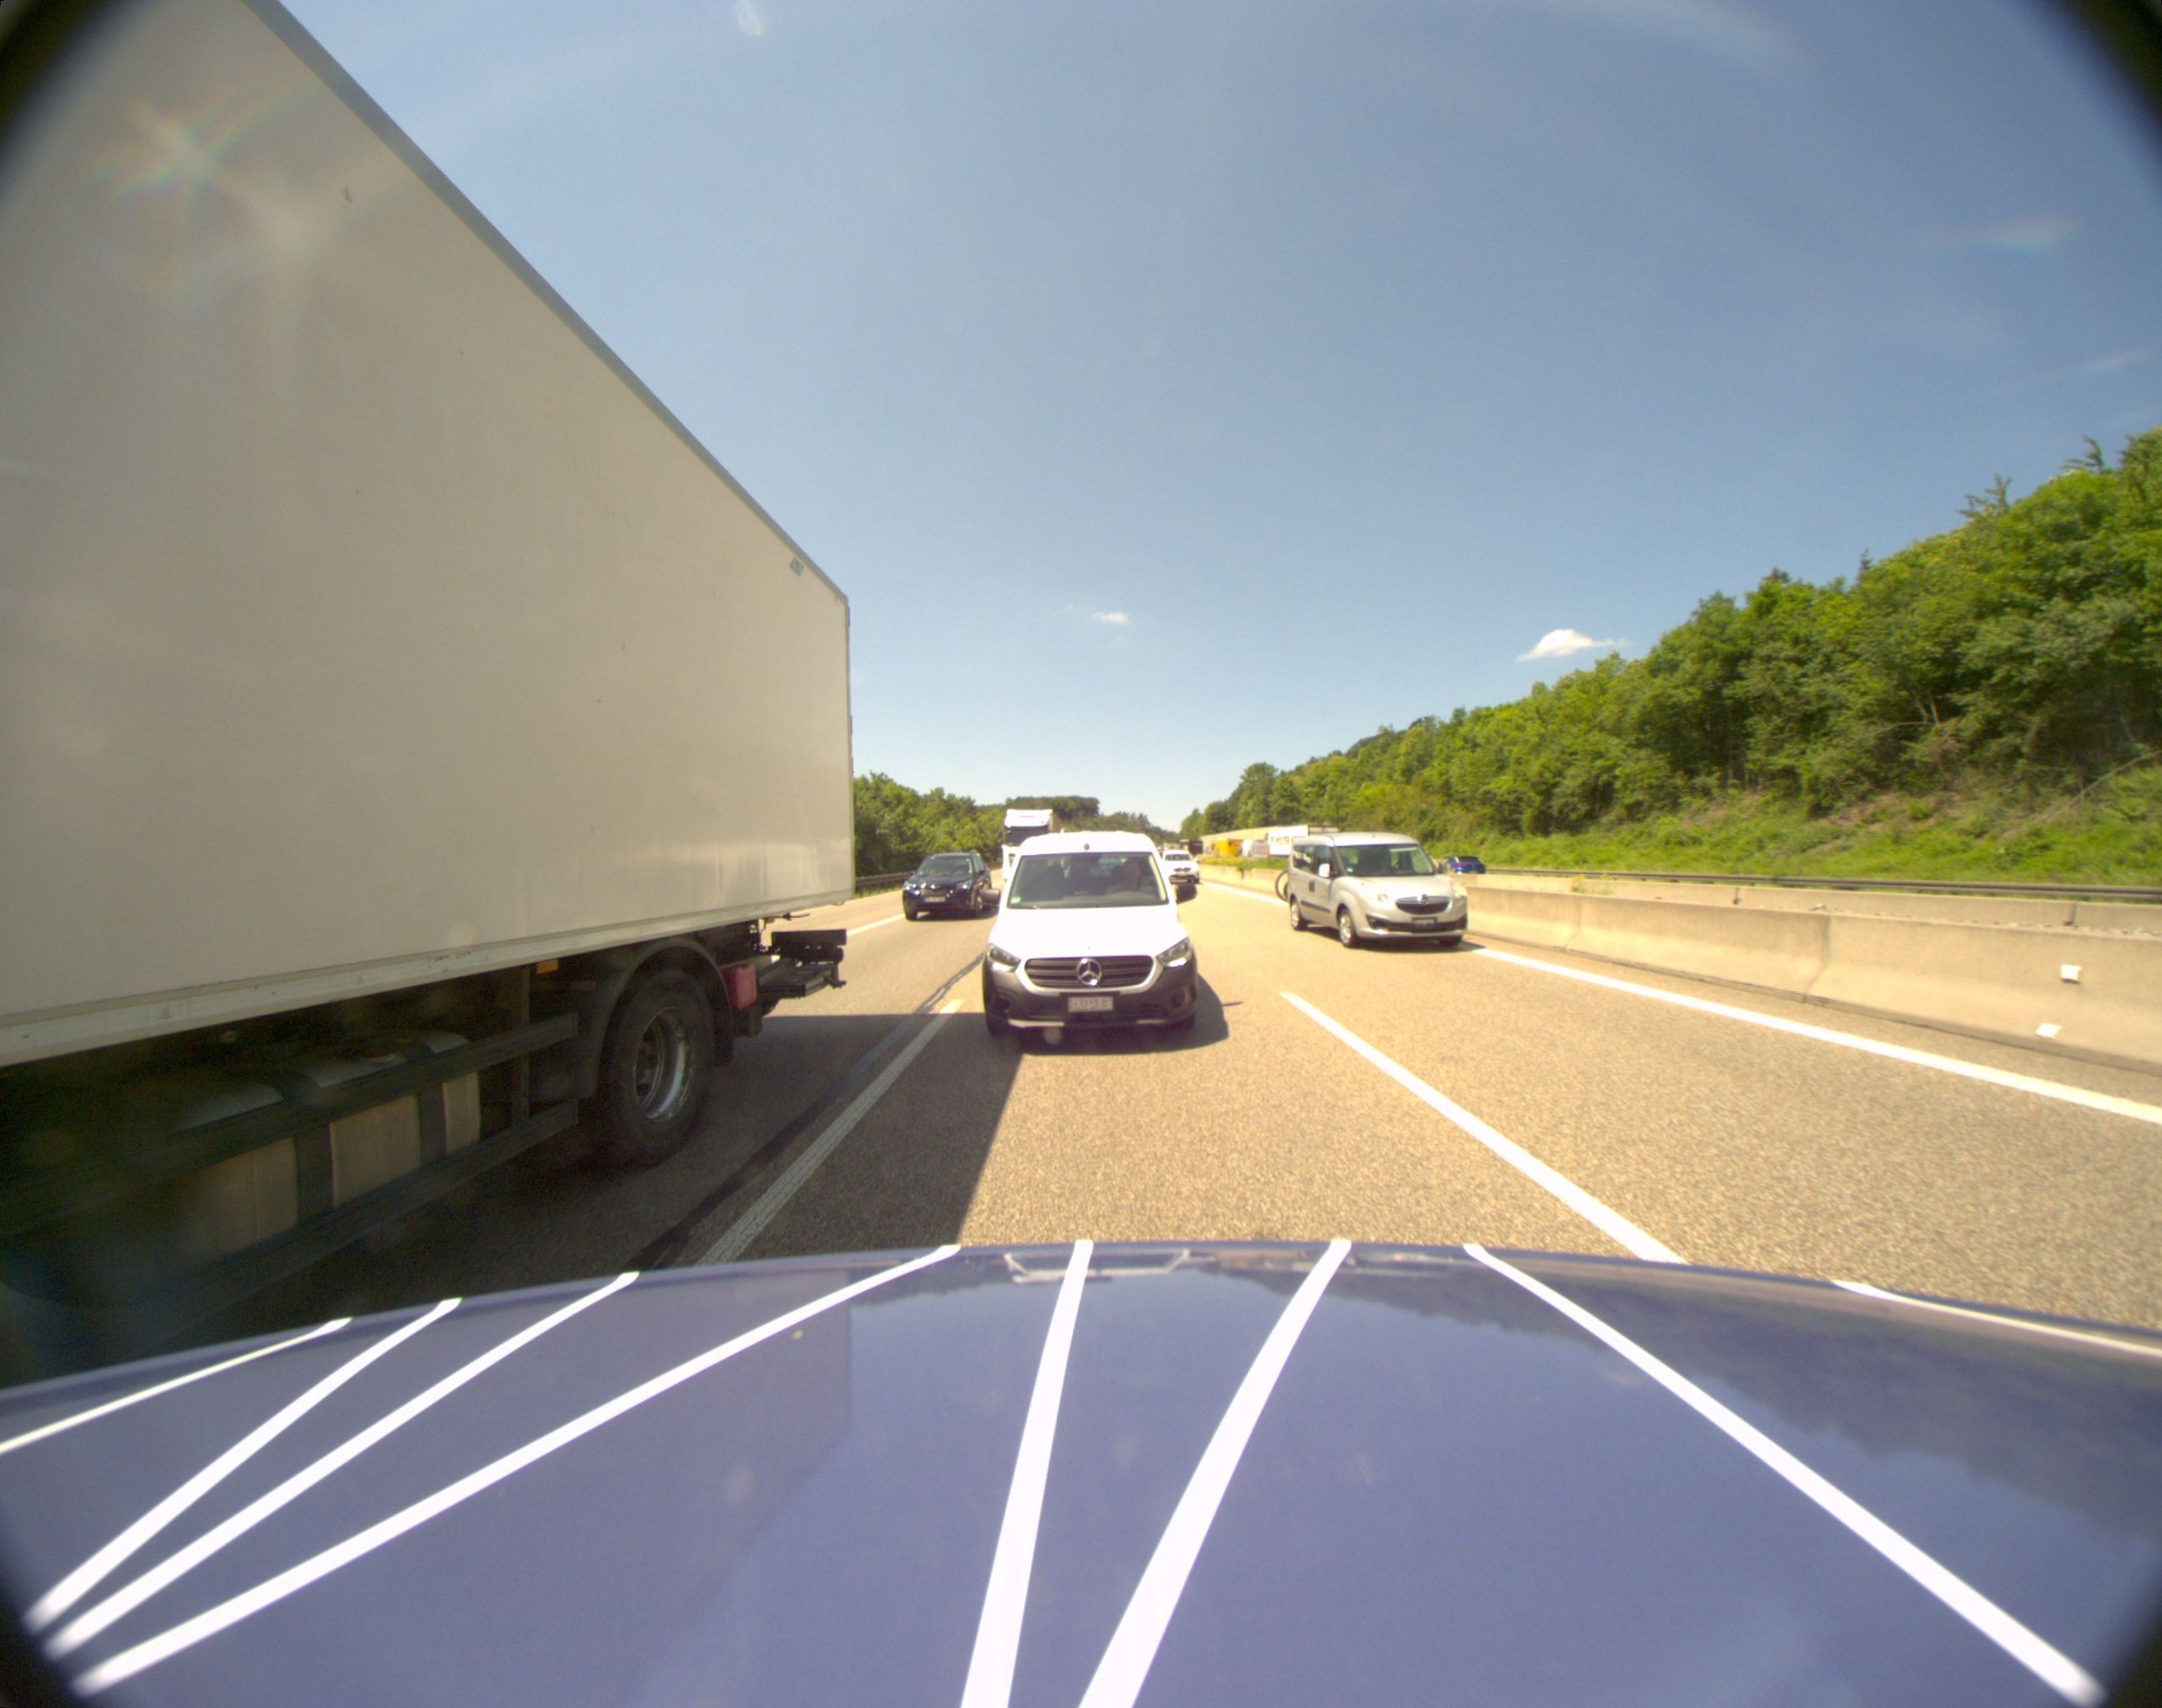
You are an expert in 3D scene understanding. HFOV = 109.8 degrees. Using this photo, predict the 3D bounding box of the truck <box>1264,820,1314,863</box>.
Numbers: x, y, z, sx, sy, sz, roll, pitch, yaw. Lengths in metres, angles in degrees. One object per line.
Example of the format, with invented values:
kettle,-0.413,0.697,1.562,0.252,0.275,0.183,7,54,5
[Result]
truck,20.270,-1.256,74.472,2.947,3.897,7.215,-2,1,1

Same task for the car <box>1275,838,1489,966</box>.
car,4.906,0.638,13.246,1.857,1.762,4.917,-2,1,2

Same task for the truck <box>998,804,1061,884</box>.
truck,-2.756,-0.592,43.084,2.766,4.060,7.333,-2,1,2

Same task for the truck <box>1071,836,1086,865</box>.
truck,-0.433,-0.530,124.812,2.187,4.437,10.869,-2,0,0

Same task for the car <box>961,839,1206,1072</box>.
car,0.056,0.723,7.830,1.756,1.681,4.363,-2,1,1

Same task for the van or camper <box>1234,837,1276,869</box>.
van or camper,16.398,-0.130,72.065,2.400,2.859,6.710,-2,1,0

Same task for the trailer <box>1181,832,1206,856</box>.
trailer,20.937,-1.847,141.646,3.443,4.170,7.896,-2,1,1

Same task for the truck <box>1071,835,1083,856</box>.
truck,-0.769,-1.653,158.748,2.187,4.073,10.869,-2,0,0

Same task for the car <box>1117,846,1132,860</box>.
car,6.417,-0.200,112.753,1.999,2.002,3.999,0,1,-1

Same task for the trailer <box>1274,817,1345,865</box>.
trailer,20.243,-1.133,68.189,3.004,3.849,11.398,-2,1,1

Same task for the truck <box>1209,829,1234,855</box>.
truck,24.996,-2.118,135.268,3.099,4.519,7.093,-2,1,1

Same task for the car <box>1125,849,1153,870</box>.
car,5.266,0.471,69.020,1.999,1.747,3.998,-2,1,-2

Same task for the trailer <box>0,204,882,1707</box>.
trailer,-3.276,0.240,3.303,2.562,2.882,7.882,-2,0,1

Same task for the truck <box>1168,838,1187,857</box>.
truck,24.651,-1.536,194.582,3.277,4.518,14.101,-2,0,1

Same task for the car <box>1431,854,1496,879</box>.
car,22.339,0.711,44.551,1.998,1.326,4.001,-1,0,3

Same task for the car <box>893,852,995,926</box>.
car,-3.544,0.828,20.466,1.999,1.682,4.609,-1,1,-2

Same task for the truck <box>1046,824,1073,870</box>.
truck,-2.148,-0.637,79.277,2.394,4.437,10.869,-2,0,0

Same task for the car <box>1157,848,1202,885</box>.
car,4.994,0.600,39.093,1.824,1.696,3.999,-2,1,1

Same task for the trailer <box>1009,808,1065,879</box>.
trailer,-2.633,-0.694,49.591,2.766,4.060,11.615,0,1,1

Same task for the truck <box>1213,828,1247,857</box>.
truck,24.872,-1.990,127.719,3.099,4.519,14.097,-2,1,1
